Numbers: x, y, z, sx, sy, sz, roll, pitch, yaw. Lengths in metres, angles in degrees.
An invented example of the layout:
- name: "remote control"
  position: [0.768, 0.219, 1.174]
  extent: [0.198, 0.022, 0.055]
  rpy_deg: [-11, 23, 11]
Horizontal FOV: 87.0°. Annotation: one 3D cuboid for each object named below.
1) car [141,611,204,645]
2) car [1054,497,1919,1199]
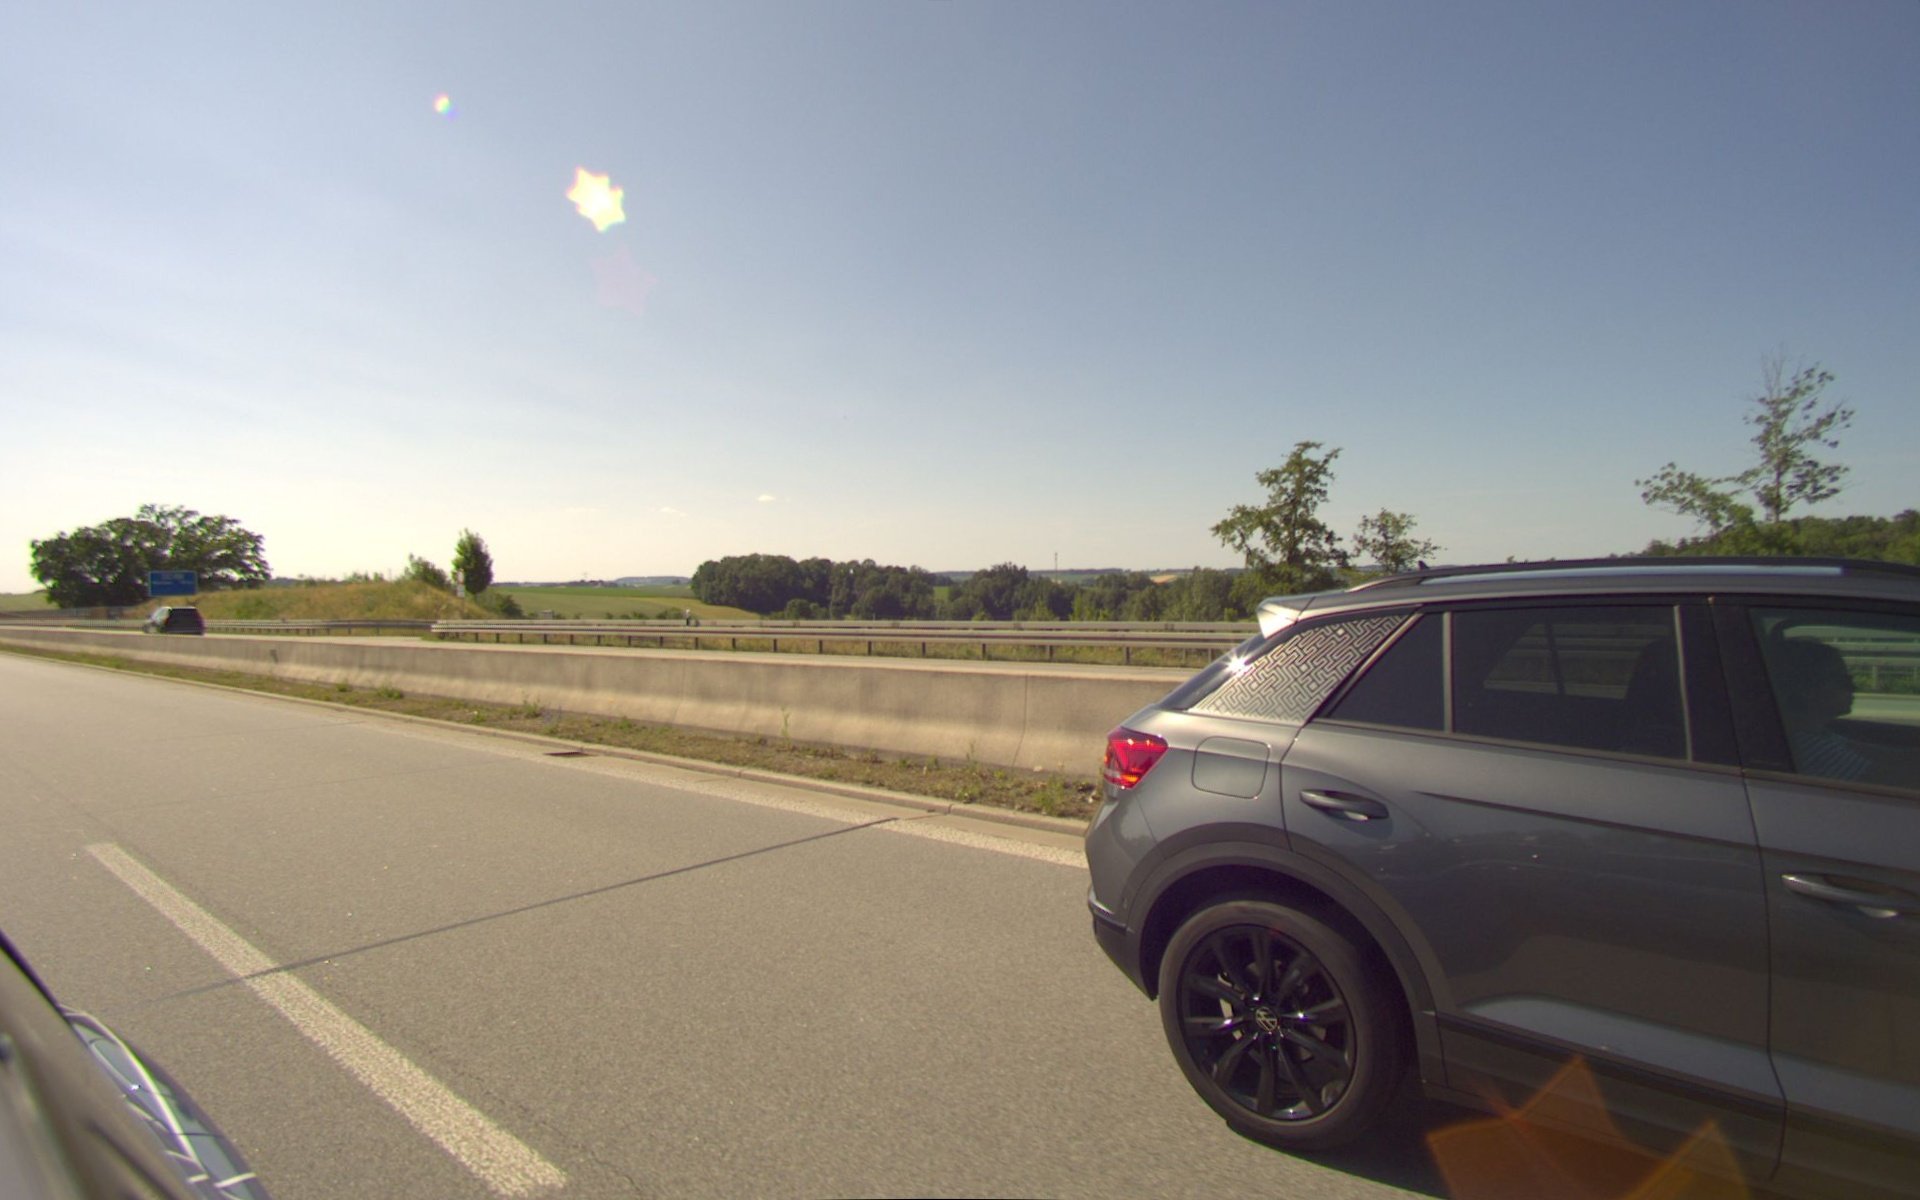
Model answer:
- name: "car"
  position: [-42.307, 1.476, 54.347]
  extent: [4.267, 1.704, 1.881]
  rpy_deg: [-1, 0, 41]
- name: "car"
  position: [2.737, 0.591, 2.051]
  extent: [4.986, 1.581, 1.754]
  rpy_deg: [-1, 0, 41]
